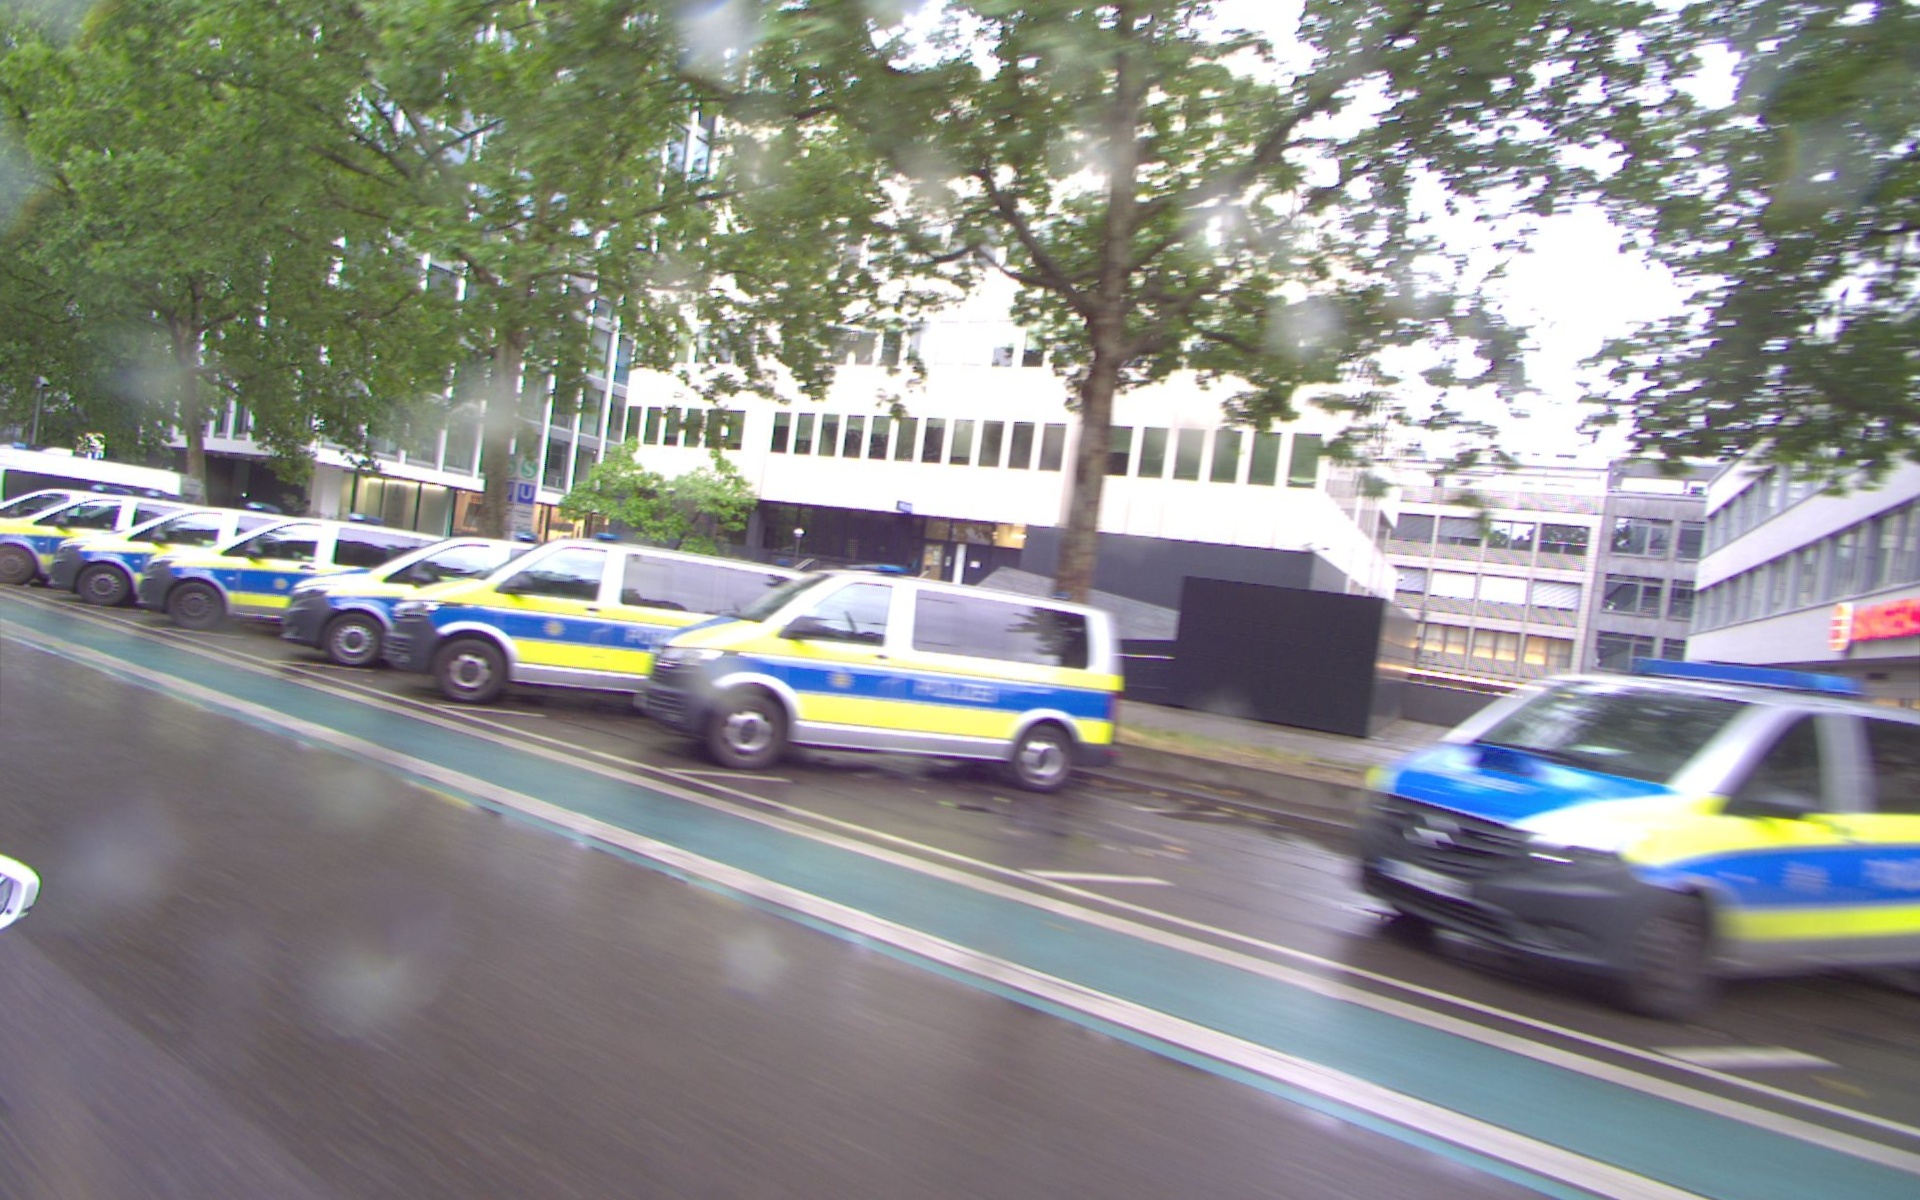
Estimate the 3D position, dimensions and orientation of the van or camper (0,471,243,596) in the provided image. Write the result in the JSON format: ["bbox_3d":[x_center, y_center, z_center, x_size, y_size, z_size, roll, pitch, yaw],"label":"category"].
[{"bbox_3d":[-18.434,-1.403,21.163,4.951,2.037,1.990,7,-2,-23],"label":"van or camper"}]

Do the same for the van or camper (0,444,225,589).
[{"bbox_3d":[-20.697,-1.985,23.008,5.736,2.713,1.989,8,0,-23],"label":"van or camper"}]

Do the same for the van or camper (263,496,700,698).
[{"bbox_3d":[-6.415,0.041,13.993,4.963,2.019,1.988,8,-1,-26],"label":"van or camper"}]

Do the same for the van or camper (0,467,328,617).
[{"bbox_3d":[-15.381,-1.045,19.226,5.144,2.015,1.989,9,-2,-24],"label":"van or camper"}]

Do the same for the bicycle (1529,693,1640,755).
[{"bbox_3d":[15.744,3.112,25.419,2.249,1.187,0.687,7,0,32],"label":"bicycle"}]

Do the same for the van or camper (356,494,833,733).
[{"bbox_3d":[-4.164,0.235,11.969,4.732,2.034,1.990,8,-1,-22],"label":"van or camper"}]

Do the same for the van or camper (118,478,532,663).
[{"bbox_3d":[-9.696,-0.386,15.965,5.038,2.049,2.096,8,-1,-21],"label":"van or camper"}]

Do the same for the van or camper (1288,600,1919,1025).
[{"bbox_3d":[4.991,1.404,6.771,5.022,2.042,1.987,9,-2,-22],"label":"van or camper"}]

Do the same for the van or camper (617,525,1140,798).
[{"bbox_3d":[-0.817,0.668,10.214,4.790,2.022,1.859,8,-1,-22],"label":"van or camper"}]

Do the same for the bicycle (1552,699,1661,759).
[{"bbox_3d":[16.972,3.379,26.476,2.248,1.187,0.688,7,-1,29],"label":"bicycle"}]

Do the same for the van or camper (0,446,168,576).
[{"bbox_3d":[-23.435,-2.343,24.639,5.737,2.709,2.137,8,-1,-21],"label":"van or camper"}]

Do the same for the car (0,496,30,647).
[{"bbox_3d":[-11.200,-0.529,10.028,3.933,1.430,1.767,7,0,32],"label":"car"}]
